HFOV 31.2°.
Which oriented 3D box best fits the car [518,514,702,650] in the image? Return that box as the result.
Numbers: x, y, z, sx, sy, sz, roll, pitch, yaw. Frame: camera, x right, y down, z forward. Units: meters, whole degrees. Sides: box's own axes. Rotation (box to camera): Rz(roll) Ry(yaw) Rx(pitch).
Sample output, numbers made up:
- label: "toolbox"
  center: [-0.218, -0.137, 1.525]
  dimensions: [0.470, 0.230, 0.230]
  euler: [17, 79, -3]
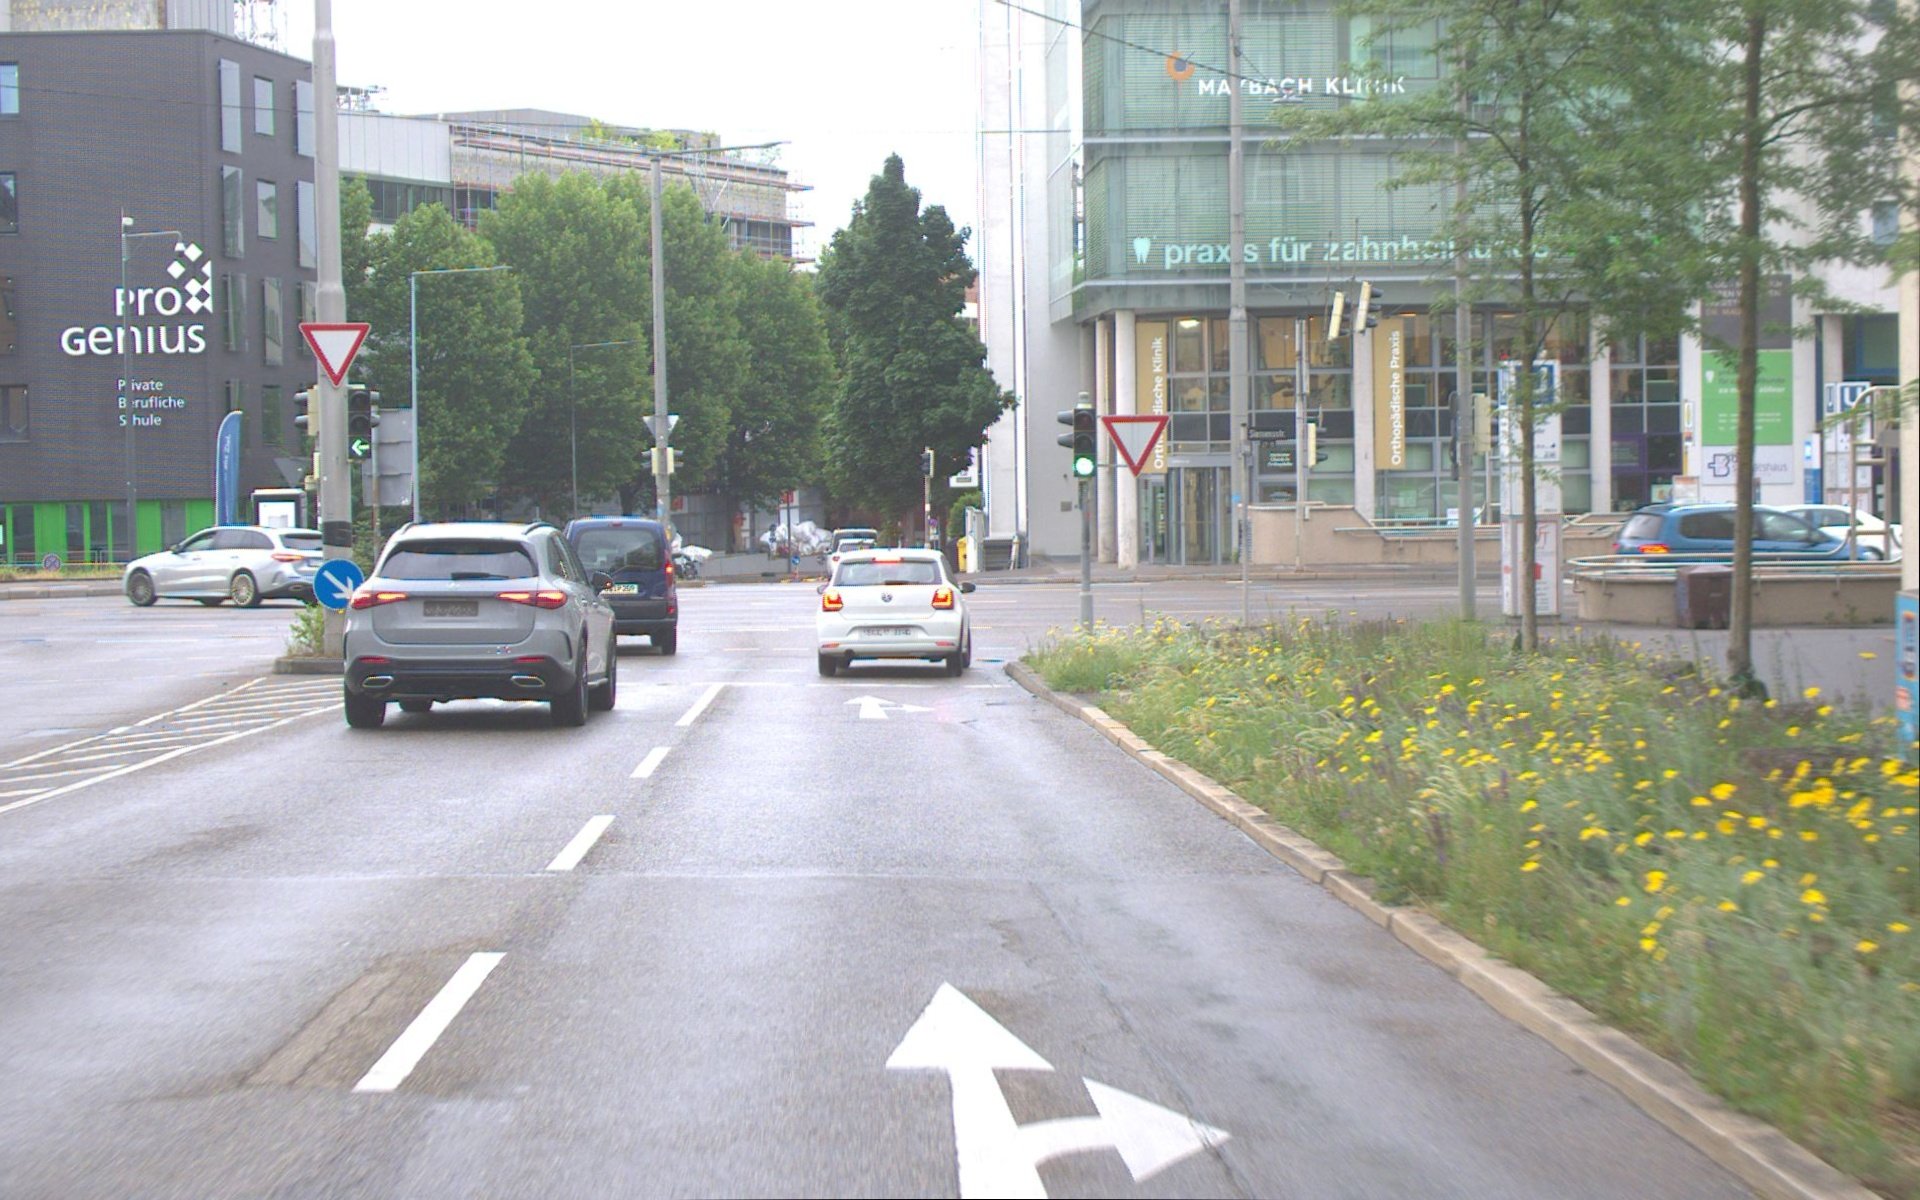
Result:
- label: "car"
  center: [-4.828, -0.279, 46.970]
  dimensions: [1.852, 1.762, 4.132]
  euler: [0, 1, -15]

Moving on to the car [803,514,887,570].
- label: "car"
  center: [-3.678, -1.833, 109.299]
  dimensions: [1.993, 1.711, 4.001]
  euler: [1, 0, -12]

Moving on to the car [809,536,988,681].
- label: "car"
  center: [-0.668, 0.063, 40.227]
  dimensions: [1.671, 1.468, 3.779]
  euler: [0, 3, 6]

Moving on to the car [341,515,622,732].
- label: "car"
  center: [-3.878, 0.147, 28.496]
  dimensions: [1.908, 1.626, 4.211]
  euler: [1, 1, -3]

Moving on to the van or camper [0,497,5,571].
- label: "van or camper"
  center: [-33.605, -2.182, 109.989]
  dimensions: [5.329, 2.360, 2.739]
  euler: [1, 0, -2]

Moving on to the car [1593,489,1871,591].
- label: "car"
  center: [12.686, -1.005, 56.606]
  dimensions: [3.986, 1.568, 2.001]
  euler: [-1, 3, -13]

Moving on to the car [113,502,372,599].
- label: "car"
  center: [-12.935, -0.896, 61.902]
  dimensions: [4.486, 1.573, 1.996]
  euler: [3, 1, 35]

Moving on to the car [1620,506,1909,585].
- label: "car"
  center: [14.970, -1.032, 64.115]
  dimensions: [4.946, 1.382, 1.824]
  euler: [-1, 2, -3]
